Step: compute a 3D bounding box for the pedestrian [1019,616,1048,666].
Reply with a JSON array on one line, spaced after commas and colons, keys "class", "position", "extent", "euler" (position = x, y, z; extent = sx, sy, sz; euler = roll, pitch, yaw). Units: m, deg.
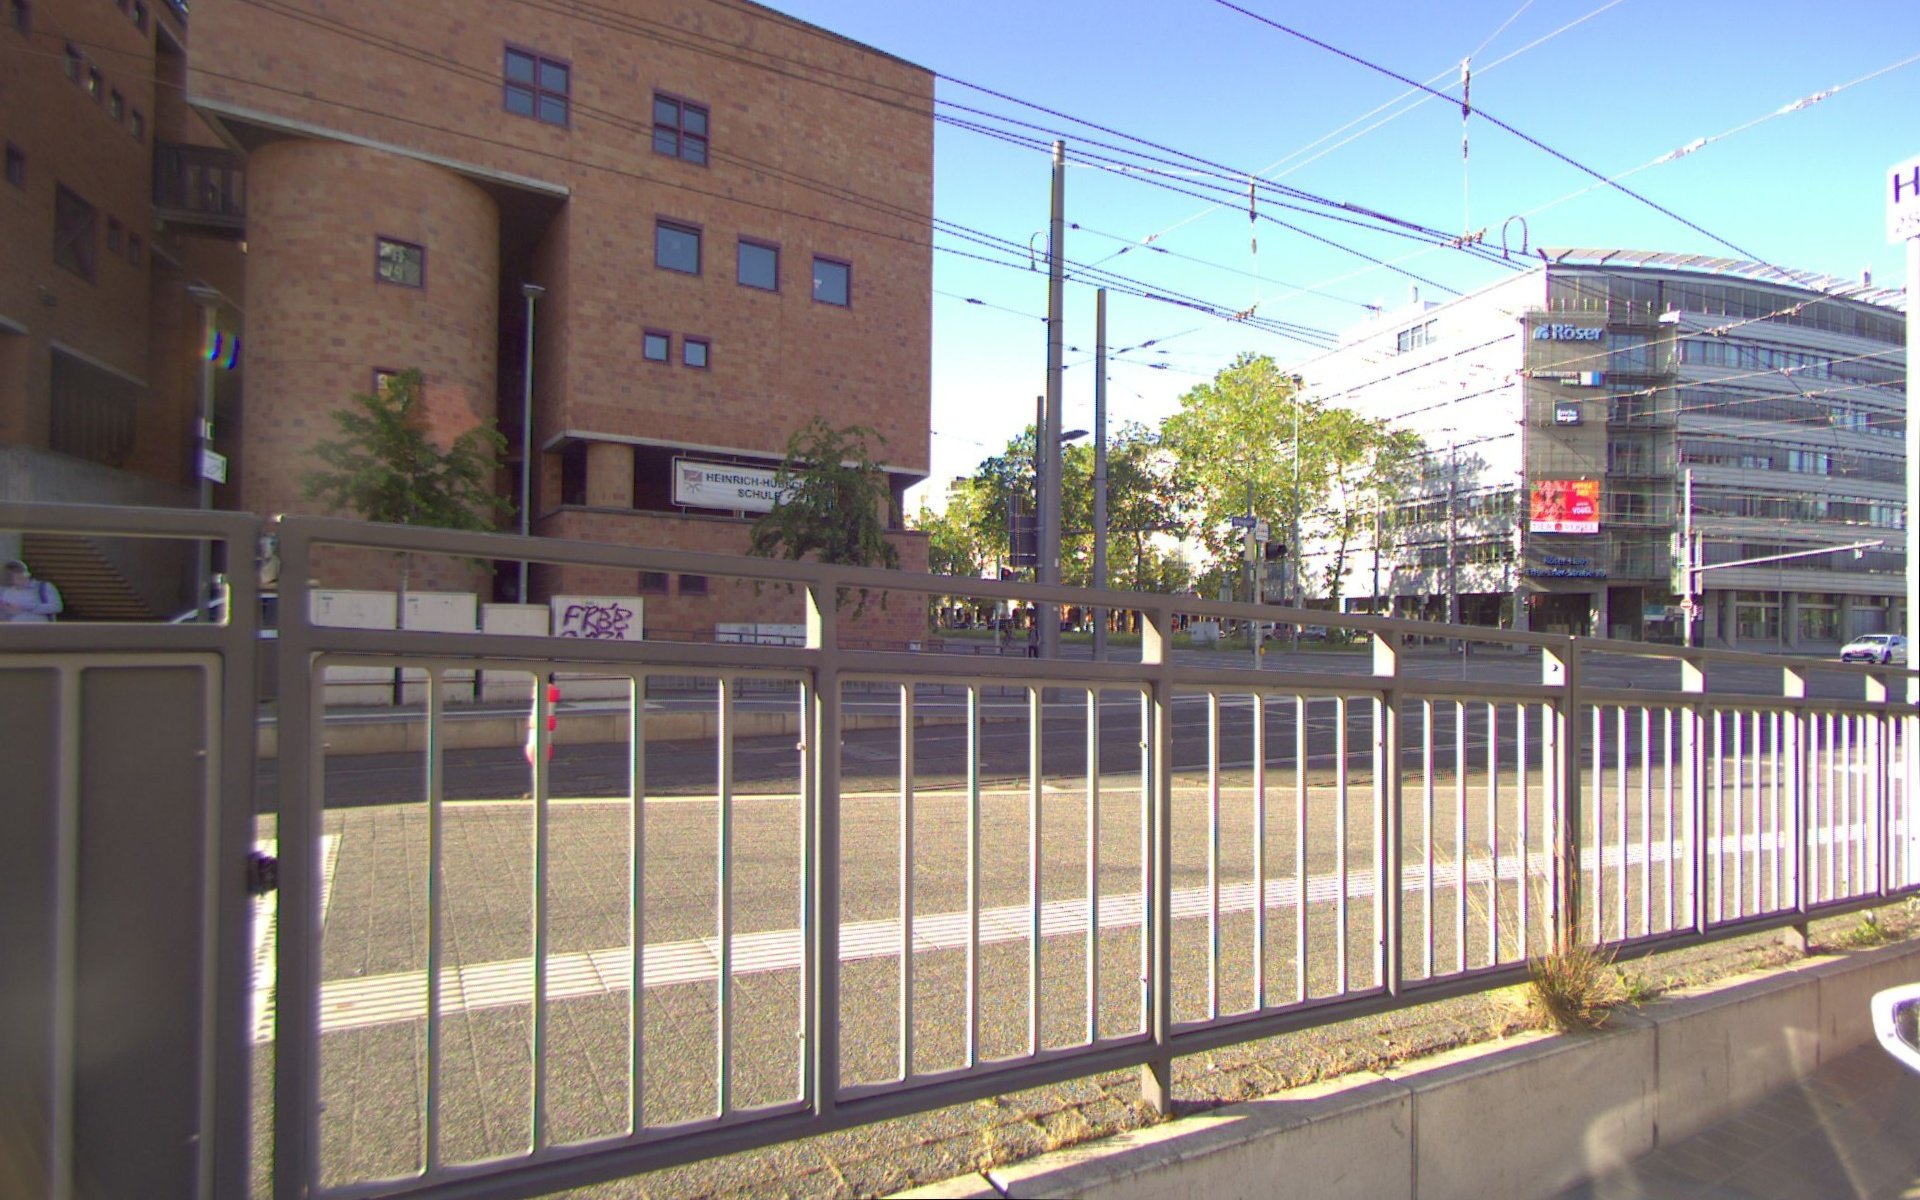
[{"class": "pedestrian", "position": [2.575, 1.442, 35.225], "extent": [0.785, 1.714, 0.587], "euler": [2, 0, -29]}]

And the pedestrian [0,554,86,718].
[{"class": "pedestrian", "position": [-9.697, 0.366, 10.526], "extent": [0.679, 1.656, 0.662], "euler": [2, 0, -34]}]

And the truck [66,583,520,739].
[{"class": "truck", "position": [-9.265, 0.834, 14.476], "extent": [5.101, 1.904, 1.982], "euler": [1, -3, -34]}]

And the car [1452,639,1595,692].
[{"class": "car", "position": [13.662, 1.557, 24.392], "extent": [2.841, 1.077, 1.238], "euler": [2, 0, 40]}]

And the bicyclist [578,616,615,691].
[{"class": "bicyclist", "position": [-7.675, 1.120, 21.194], "extent": [0.642, 1.554, 0.584], "euler": [1, -1, -30]}]

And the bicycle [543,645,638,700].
[{"class": "bicycle", "position": [-7.749, 1.512, 21.095], "extent": [1.793, 1.104, 0.458], "euler": [2, -3, -30]}]

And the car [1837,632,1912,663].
[{"class": "car", "position": [45.587, 2.336, 50.056], "extent": [4.484, 1.449, 1.814], "euler": [1, -1, -35]}]
